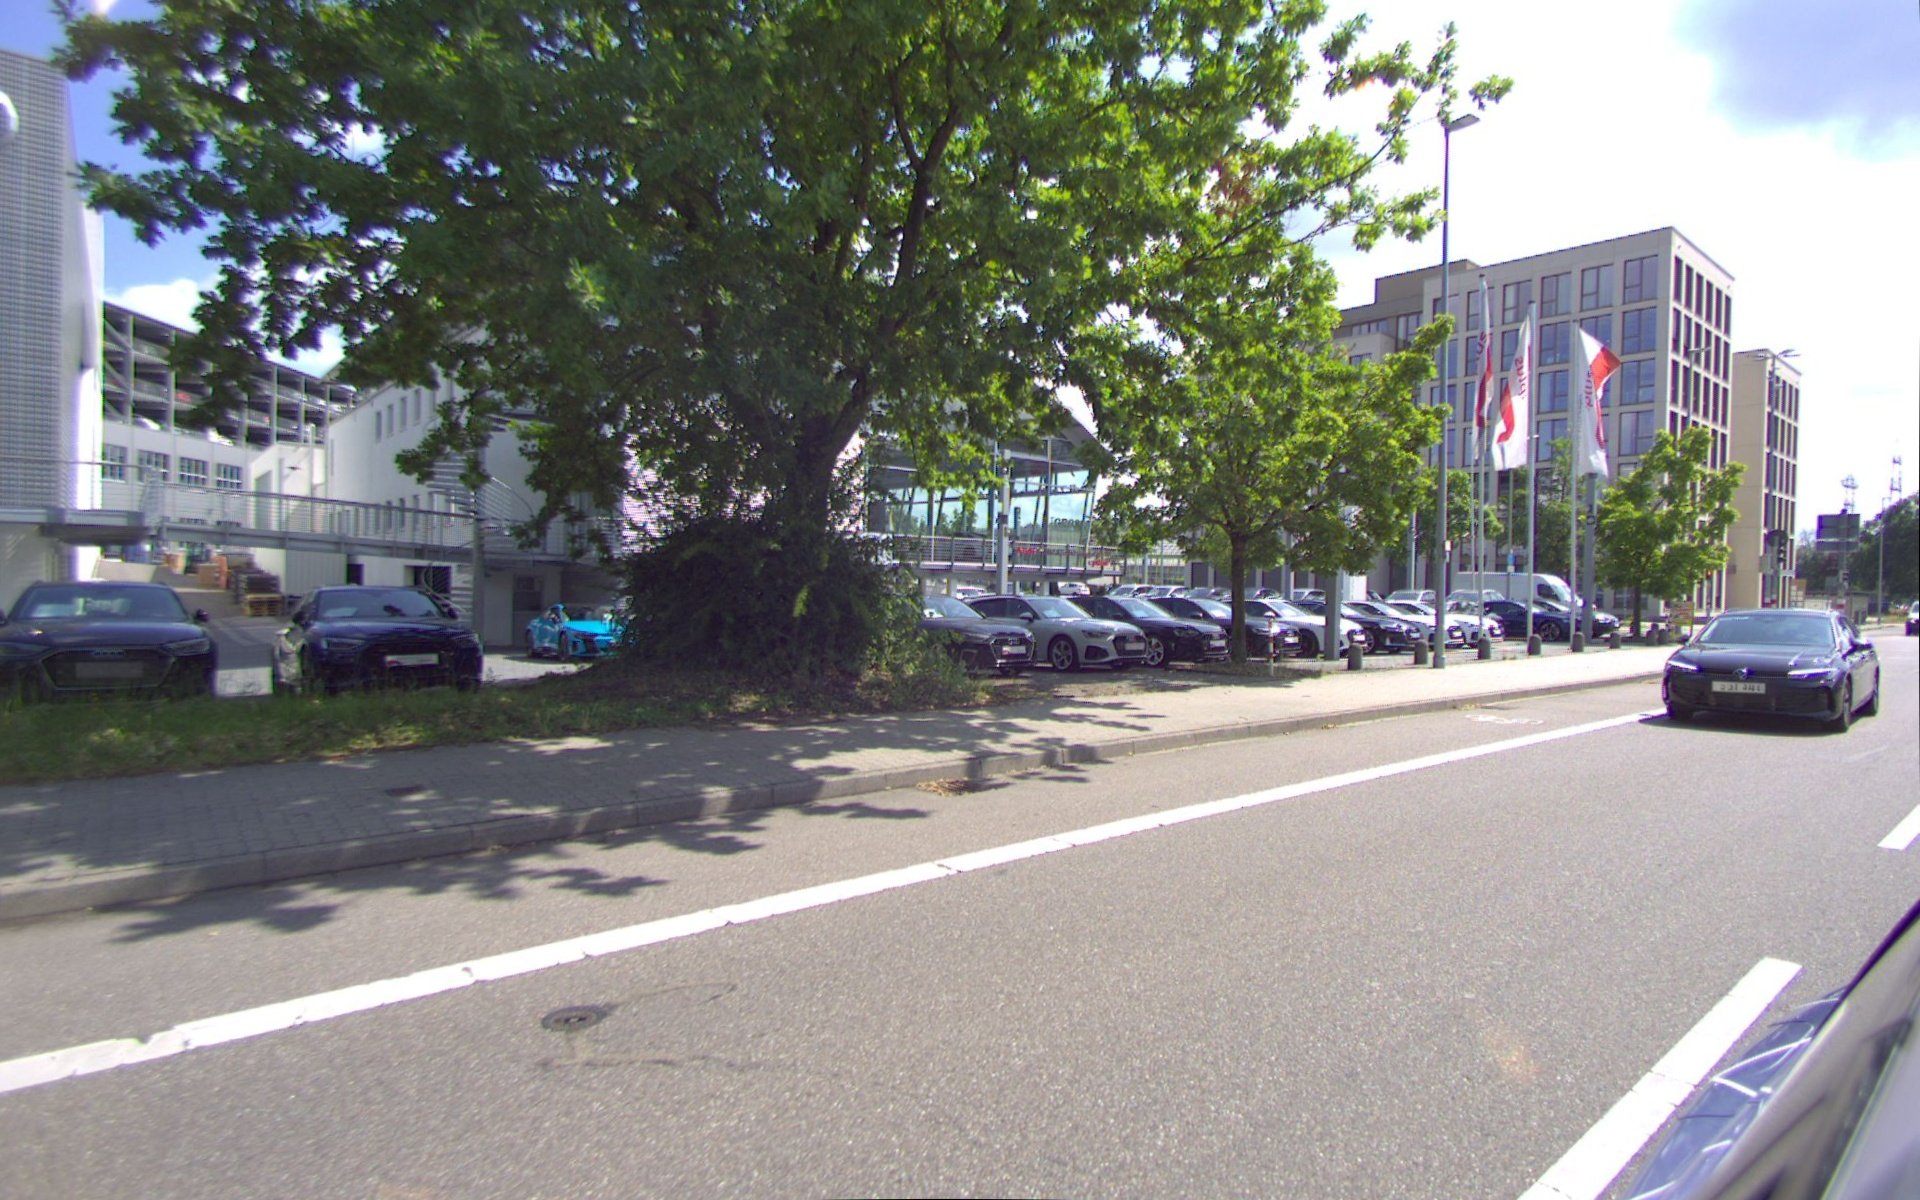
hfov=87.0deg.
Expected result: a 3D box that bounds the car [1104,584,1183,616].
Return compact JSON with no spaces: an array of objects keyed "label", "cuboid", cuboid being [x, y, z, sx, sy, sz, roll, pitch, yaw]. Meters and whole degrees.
[{"label":"car","cuboid":[10.505,0.017,57.796,4.506,1.699,1.905,2,-1,-39]}]

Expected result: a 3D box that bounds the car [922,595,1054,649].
[{"label":"car","cuboid":[0.836,0.648,32.857,1.873,1.517,4.356,0,2,-40]}]

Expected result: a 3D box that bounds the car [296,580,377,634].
[{"label":"car","cuboid":[-25.086,0.247,40.662,1.966,2.039,3.991,3,-1,-43]}]

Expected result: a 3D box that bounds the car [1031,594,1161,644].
[{"label":"car","cuboid":[4.679,0.601,35.273,1.873,1.517,4.356,0,2,-40]}]

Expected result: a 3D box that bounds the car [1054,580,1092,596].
[{"label":"car","cuboid":[12.529,-1.376,112.428,1.964,1.705,3.994,3,-1,-40]}]

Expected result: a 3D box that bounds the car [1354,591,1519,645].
[{"label":"car","cuboid":[13.927,0.557,29.758,1.764,1.483,3.993,0,-2,-40]}]

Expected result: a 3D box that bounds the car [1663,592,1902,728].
[{"label":"car","cuboid":[11.333,0.719,13.787,5.115,1.497,1.811,2,0,-43]}]

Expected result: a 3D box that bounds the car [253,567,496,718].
[{"label":"car","cuboid":[-7.467,0.369,12.671,1.873,1.517,4.584,0,2,-40]}]

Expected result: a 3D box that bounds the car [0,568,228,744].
[{"label":"car","cuboid":[-9.353,0.434,11.062,1.873,1.517,4.584,0,2,-40]}]

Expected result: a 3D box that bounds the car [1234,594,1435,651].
[{"label":"car","cuboid":[9.614,0.550,26.306,1.873,1.314,4.584,3,-1,-40]}]

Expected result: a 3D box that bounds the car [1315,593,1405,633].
[{"label":"car","cuboid":[18.625,0.597,47.013,4.506,1.699,1.905,2,-1,-39]}]

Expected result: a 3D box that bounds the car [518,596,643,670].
[{"label":"car","cuboid":[-9.347,0.727,24.738,1.871,1.517,4.362,0,1,-34]}]

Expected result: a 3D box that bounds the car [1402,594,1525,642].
[{"label":"car","cuboid":[16.399,0.573,32.867,4.670,1.483,1.793,0,-2,-39]}]

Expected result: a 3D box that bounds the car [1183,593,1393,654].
[{"label":"car","cuboid":[7.894,0.542,24.698,1.873,1.314,4.584,3,-1,-40]}]

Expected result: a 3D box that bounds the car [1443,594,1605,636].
[{"label":"car","cuboid":[19.570,0.503,35.275,1.873,1.314,4.584,3,-1,-40]}]

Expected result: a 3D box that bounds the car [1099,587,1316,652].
[{"label":"car","cuboid":[5.524,0.512,23.085,1.873,1.314,4.582,3,-4,-40]}]

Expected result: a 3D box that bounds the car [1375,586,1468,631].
[{"label":"car","cuboid":[20.461,0.324,44.807,4.509,1.698,1.905,-3,3,-39]}]

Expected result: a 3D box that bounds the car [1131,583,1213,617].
[{"label":"car","cuboid":[11.605,0.009,55.238,4.506,1.699,1.905,2,-1,-39]}]

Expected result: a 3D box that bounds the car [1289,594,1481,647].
[{"label":"car","cuboid":[11.778,0.548,28.299,1.873,1.314,4.584,3,-1,-40]}]

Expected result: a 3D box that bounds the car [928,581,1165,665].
[{"label":"car","cuboid":[1.529,0.497,19.501,1.873,1.423,4.582,3,-4,-40]}]

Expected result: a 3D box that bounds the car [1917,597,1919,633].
[{"label":"car","cuboid":[52.102,0.871,53.435,4.908,1.861,1.996,3,-1,-43]}]

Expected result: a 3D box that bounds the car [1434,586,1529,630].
[{"label":"car","cuboid":[22.142,0.350,42.896,4.506,1.699,1.905,2,-1,-39]}]

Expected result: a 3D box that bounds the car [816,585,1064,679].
[{"label":"car","cuboid":[-0.488,0.534,17.715,1.873,1.423,4.583,3,-2,-40]}]

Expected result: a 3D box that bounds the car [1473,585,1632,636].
[{"label":"car","cuboid":[21.282,0.341,36.496,1.873,1.699,4.584,3,-1,-40]}]

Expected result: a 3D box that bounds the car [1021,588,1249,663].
[{"label":"car","cuboid":[3.518,0.539,21.102,1.873,1.402,4.582,3,-3,-40]}]

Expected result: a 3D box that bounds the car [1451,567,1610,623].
[{"label":"car","cuboid":[28.899,-0.265,51.573,2.098,2.640,6.866,2,-1,-33]}]

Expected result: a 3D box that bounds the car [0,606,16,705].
[{"label":"car","cuboid":[-17.508,0.949,17.219,1.873,1.517,4.356,0,2,-40]}]

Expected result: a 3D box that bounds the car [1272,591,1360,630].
[{"label":"car","cuboid":[17.229,0.513,48.874,4.506,1.699,1.905,2,-1,-39]}]

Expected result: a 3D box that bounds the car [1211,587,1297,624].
[{"label":"car","cuboid":[14.853,0.311,50.995,4.506,1.699,1.905,2,-1,-39]}]
